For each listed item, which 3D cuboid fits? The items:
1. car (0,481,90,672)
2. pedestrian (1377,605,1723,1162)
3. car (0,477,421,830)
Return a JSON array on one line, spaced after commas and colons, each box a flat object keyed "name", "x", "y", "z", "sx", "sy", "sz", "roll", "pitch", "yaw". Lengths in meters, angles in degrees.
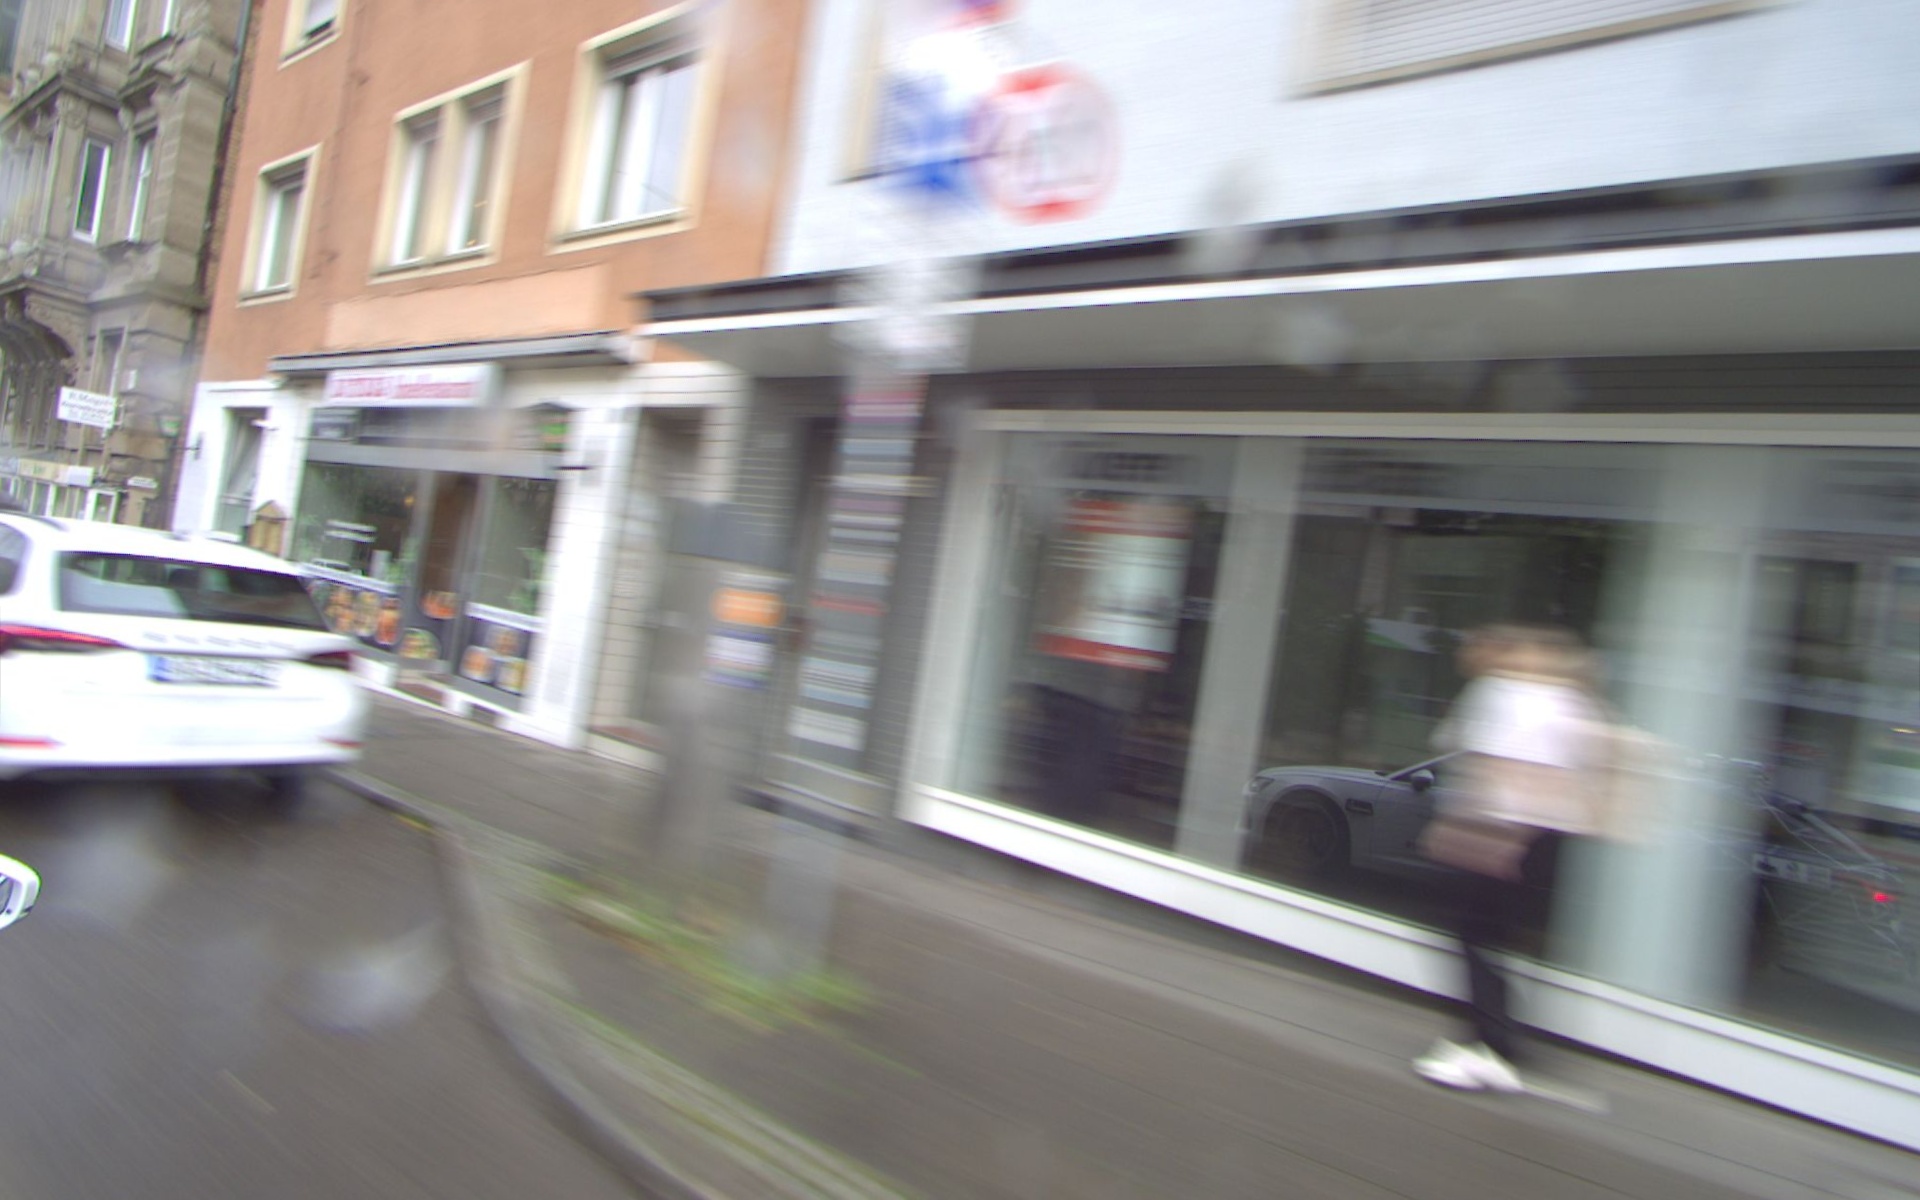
[{"name": "car", "x": -10.560, "y": -0.391, "z": 10.007, "sx": 4.518, "sy": 1.650, "sz": 1.847, "roll": 4, "pitch": -4, "yaw": 37}, {"name": "pedestrian", "x": 1.976, "y": 0.877, "z": 3.484, "sx": 0.749, "sy": 1.591, "sz": 0.690, "roll": 8, "pitch": 1, "yaw": 25}, {"name": "car", "x": -5.369, "y": 0.192, "z": 6.178, "sx": 4.518, "sy": 1.472, "sz": 1.802, "roll": 4, "pitch": -3, "yaw": 37}]
